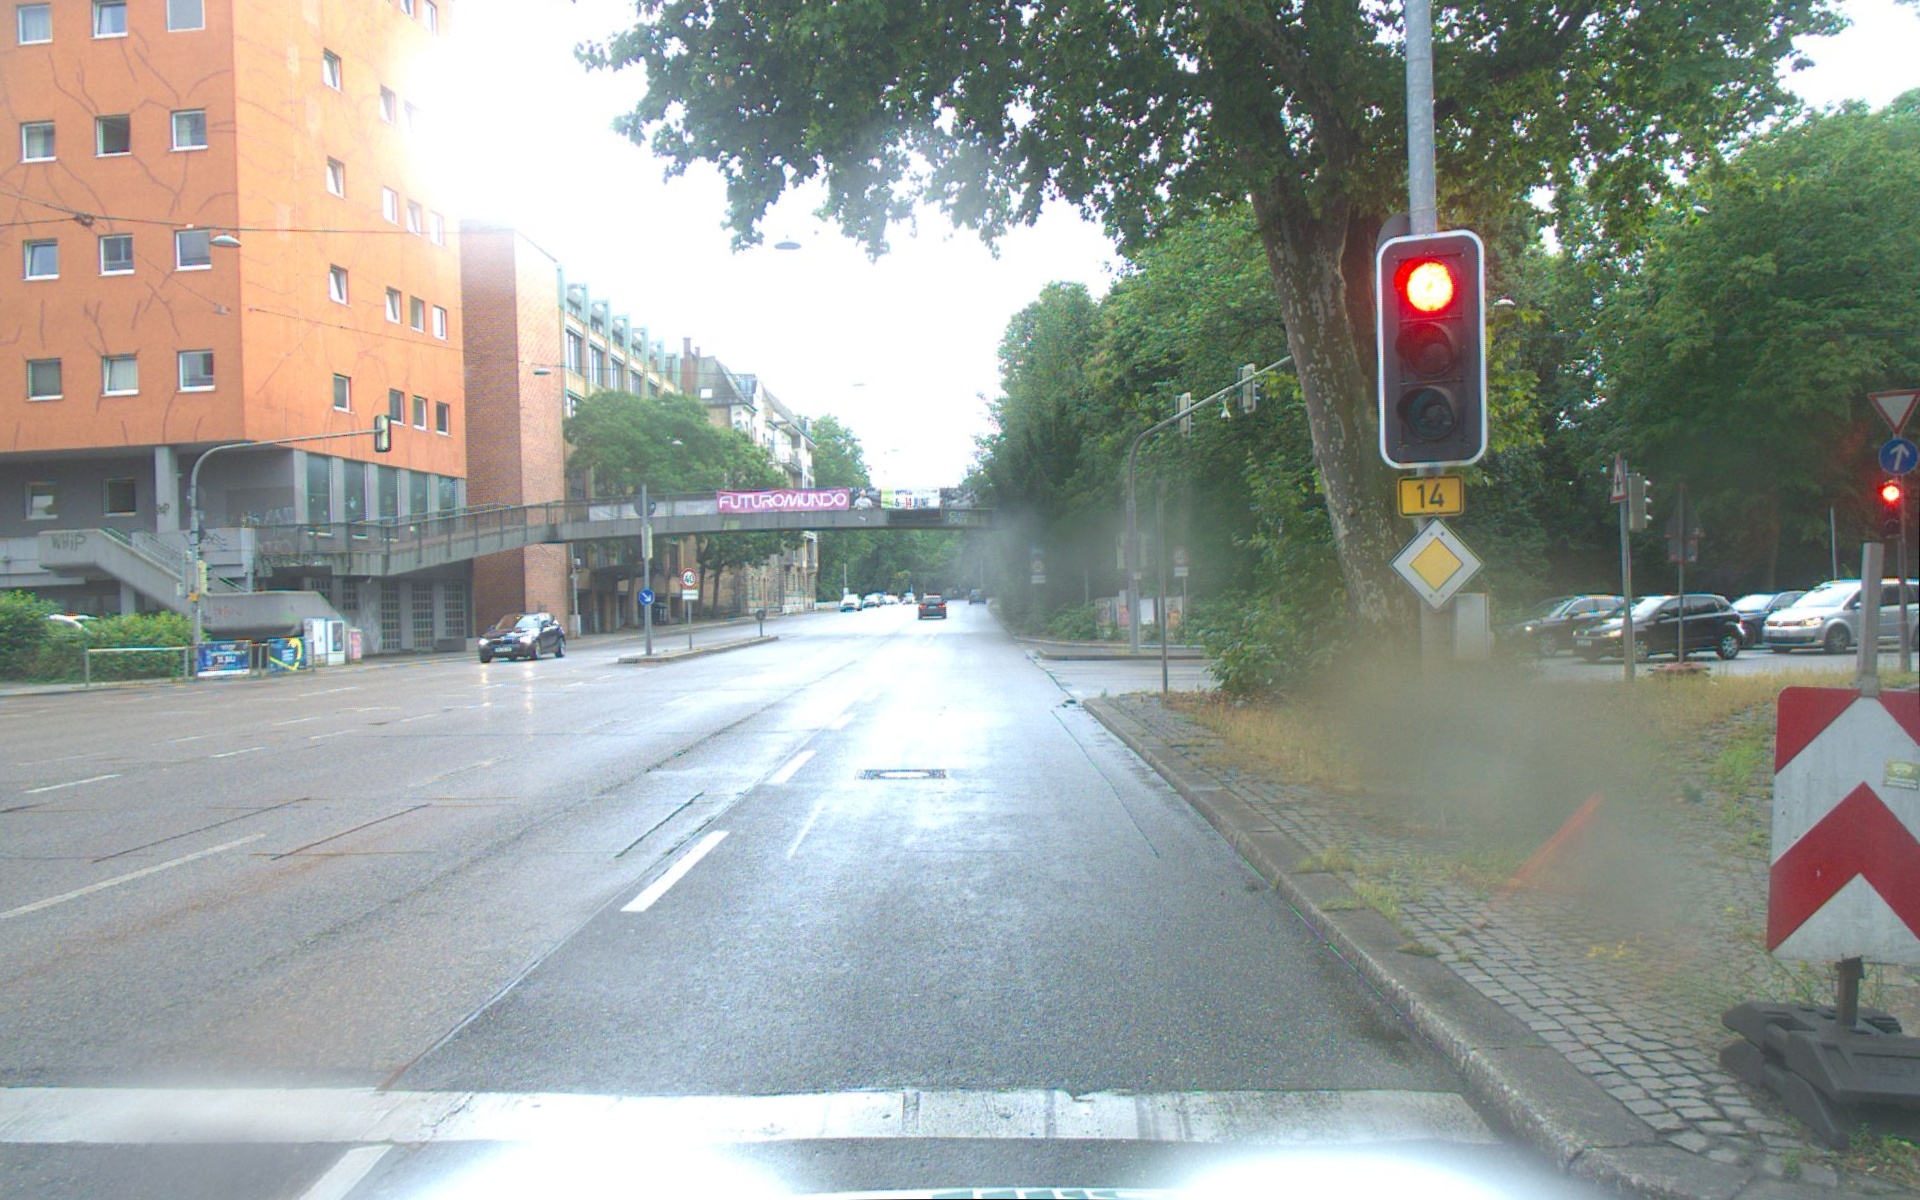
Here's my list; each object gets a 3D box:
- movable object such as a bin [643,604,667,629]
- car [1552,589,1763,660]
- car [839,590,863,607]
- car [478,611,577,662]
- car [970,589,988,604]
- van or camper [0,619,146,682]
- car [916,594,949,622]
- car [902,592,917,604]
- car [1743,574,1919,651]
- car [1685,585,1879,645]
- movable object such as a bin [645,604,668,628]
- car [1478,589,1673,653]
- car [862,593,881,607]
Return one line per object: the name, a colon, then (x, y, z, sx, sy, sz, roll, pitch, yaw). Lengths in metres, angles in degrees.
movable object such as a bin: (-19.683, 1.058, 106.808, 1.256, 1.545, 1.273, -1, 0, 1)
car: (15.374, 0.536, 36.517, 4.119, 1.486, 1.785, 1, 0, -17)
car: (-10.480, -0.121, 159.426, 1.850, 1.638, 4.457, -1, 0, 2)
car: (-13.198, 1.100, 50.719, 1.650, 1.444, 4.216, -2, -1, 4)
car: (1.970, -0.366, 171.352, 1.805, 1.478, 3.776, 1, 0, -1)
van or camper: (-25.873, 1.446, 47.645, 3.902, 1.656, 1.915, -1, 0, 5)
car: (-1.780, 0.497, 104.818, 1.964, 1.672, 4.374, -1, 0, -2)
car: (-6.371, -0.219, 209.465, 1.648, 1.461, 3.862, -2, 0, 0)
car: (20.615, 0.303, 38.512, 4.129, 1.709, 1.898, 1, 0, -17)
car: (20.834, 0.378, 41.929, 4.361, 1.427, 1.821, 1, 0, -17)
movable object such as a bin: (-19.835, 1.037, 108.135, 1.272, 1.545, 1.214, -1, 0, 1)
car: (14.972, 0.520, 40.300, 4.131, 1.466, 1.941, 1, 0, -17)
car: (-9.890, 0.051, 185.602, 1.673, 1.490, 4.042, -2, 0, 2)
